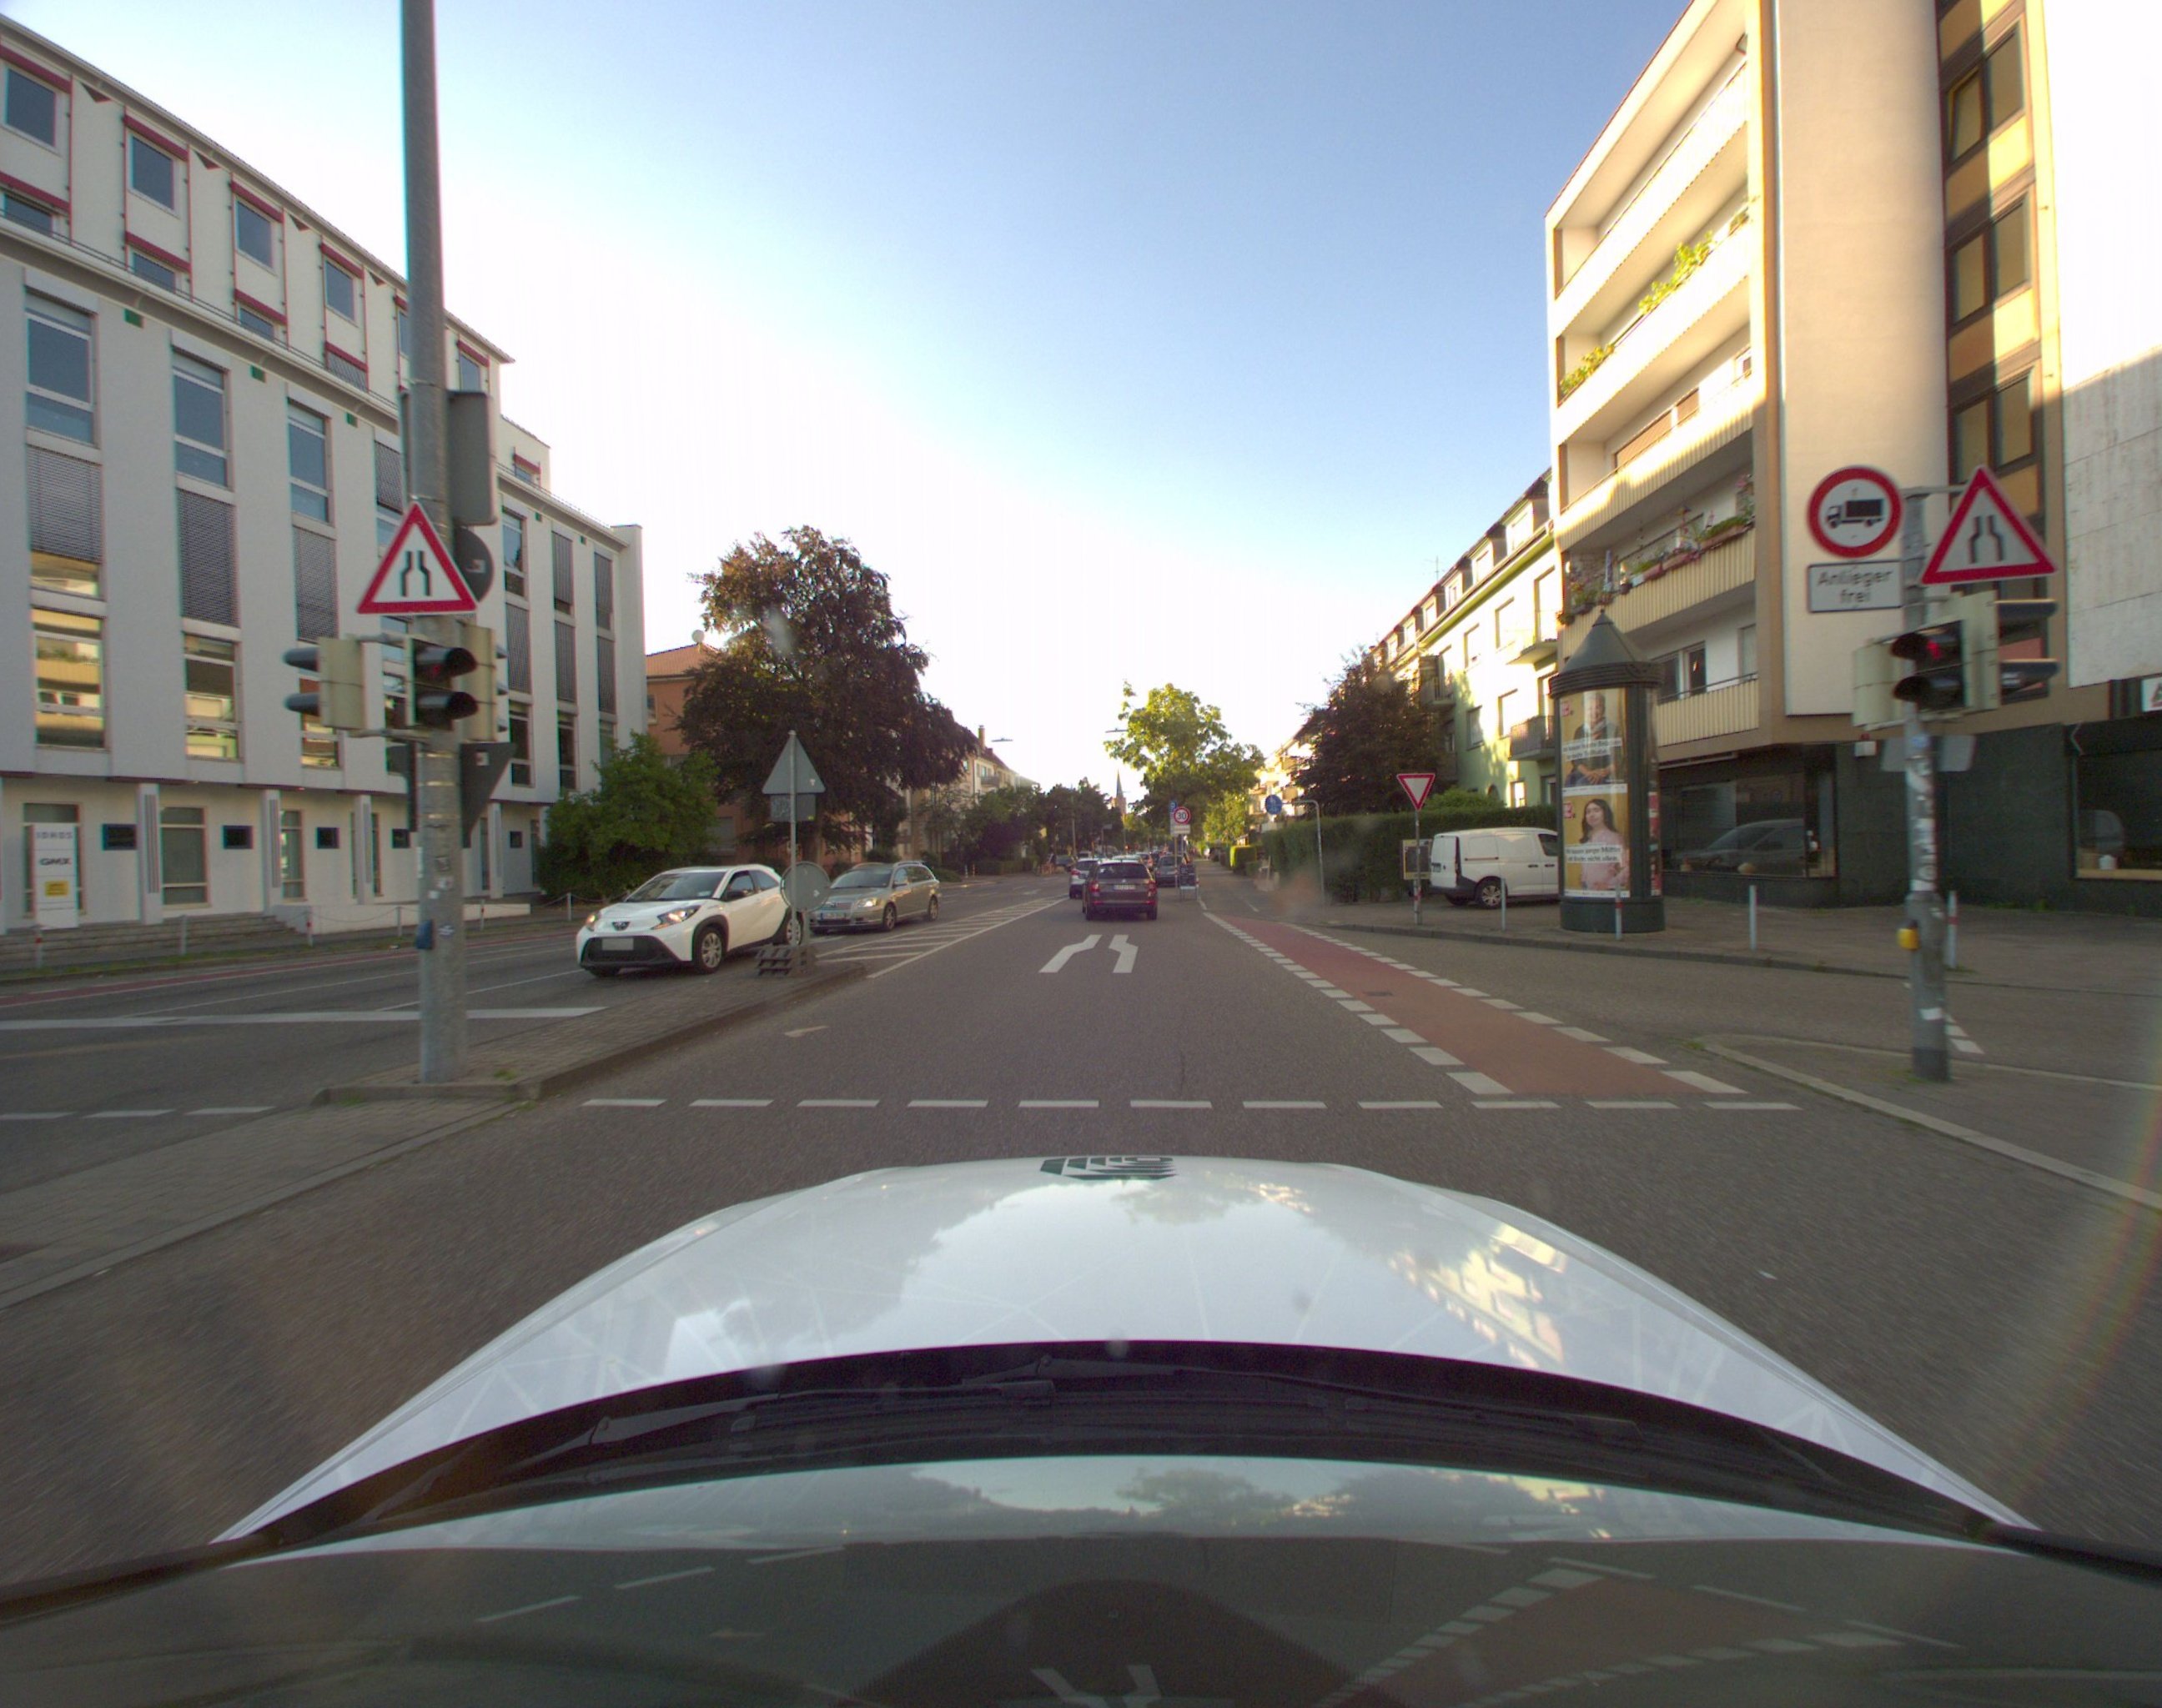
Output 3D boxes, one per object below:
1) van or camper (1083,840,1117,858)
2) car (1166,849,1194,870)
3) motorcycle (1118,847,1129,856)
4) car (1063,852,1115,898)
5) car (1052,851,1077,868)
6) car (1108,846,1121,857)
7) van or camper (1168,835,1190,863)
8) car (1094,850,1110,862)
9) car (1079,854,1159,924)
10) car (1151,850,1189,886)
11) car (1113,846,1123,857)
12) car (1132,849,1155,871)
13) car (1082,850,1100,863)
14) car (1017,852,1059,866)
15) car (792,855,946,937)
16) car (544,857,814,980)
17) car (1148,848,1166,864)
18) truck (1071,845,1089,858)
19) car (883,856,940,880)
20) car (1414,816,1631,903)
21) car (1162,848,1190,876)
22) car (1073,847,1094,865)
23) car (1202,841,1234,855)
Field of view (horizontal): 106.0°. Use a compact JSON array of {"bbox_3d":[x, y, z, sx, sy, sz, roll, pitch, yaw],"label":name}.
[{"bbox_3d":[4.477,-1.117,188.303,7.604,3.874,2.003,-2,1,5],"label":"van or camper"},{"bbox_3d":[7.636,0.418,63.165,1.912,1.486,4.751,-2,1,3],"label":"car"},{"bbox_3d":[7.917,-0.476,151.455,0.770,1.511,2.008,-2,1,-36],"label":"motorcycle"},{"bbox_3d":[0.354,0.735,30.665,1.722,1.493,3.954,-2,1,3],"label":"car"},{"bbox_3d":[-1.505,0.521,77.561,1.741,1.502,4.205,-2,1,7],"label":"car"},{"bbox_3d":[5.619,-0.488,136.561,1.741,1.740,3.598,-2,1,7],"label":"car"},{"bbox_3d":[9.648,-0.478,80.071,2.057,2.675,6.002,-2,0,7],"label":"van or camper"},{"bbox_3d":[2.869,0.242,111.777,1.708,1.497,4.256,-2,1,7],"label":"car"},{"bbox_3d":[0.862,0.800,20.668,1.725,1.493,3.948,-2,1,-2],"label":"car"},{"bbox_3d":[4.315,0.641,39.302,1.723,1.551,3.653,-2,1,7],"label":"car"},{"bbox_3d":[6.463,-0.392,141.173,1.499,1.757,3.701,-2,1,7],"label":"car"},{"bbox_3d":[5.235,0.475,68.132,1.723,1.651,3.549,-2,1,7],"label":"car"},{"bbox_3d":[1.222,0.292,100.377,1.708,1.421,3.794,-2,1,7],"label":"car"},{"bbox_3d":[-5.056,0.572,95.076,4.705,1.362,1.996,-2,1,-6],"label":"car"},{"bbox_3d":[-4.630,0.852,18.605,1.818,1.514,4.613,-2,1,6],"label":"car"},{"bbox_3d":[-5.845,0.847,12.459,1.818,1.460,3.910,-2,1,6],"label":"car"},{"bbox_3d":[8.092,0.187,86.167,1.723,1.651,3.549,-2,1,7],"label":"car"},{"bbox_3d":[-0.115,-0.484,138.663,2.898,2.093,1.549,-2,1,6],"label":"truck"},{"bbox_3d":[-11.775,0.940,56.659,3.483,1.486,1.817,-2,1,3],"label":"car"},{"bbox_3d":[10.207,0.116,19.091,4.069,1.814,1.864,-2,1,4],"label":"car"},{"bbox_3d":[6.207,0.512,53.222,1.723,1.651,4.300,-2,1,7],"label":"car"},{"bbox_3d":[0.304,0.154,93.020,1.760,1.919,4.469,-2,1,7],"label":"car"},{"bbox_3d":[20.996,-0.931,124.712,4.550,1.892,1.901,-2,1,-21],"label":"car"}]
